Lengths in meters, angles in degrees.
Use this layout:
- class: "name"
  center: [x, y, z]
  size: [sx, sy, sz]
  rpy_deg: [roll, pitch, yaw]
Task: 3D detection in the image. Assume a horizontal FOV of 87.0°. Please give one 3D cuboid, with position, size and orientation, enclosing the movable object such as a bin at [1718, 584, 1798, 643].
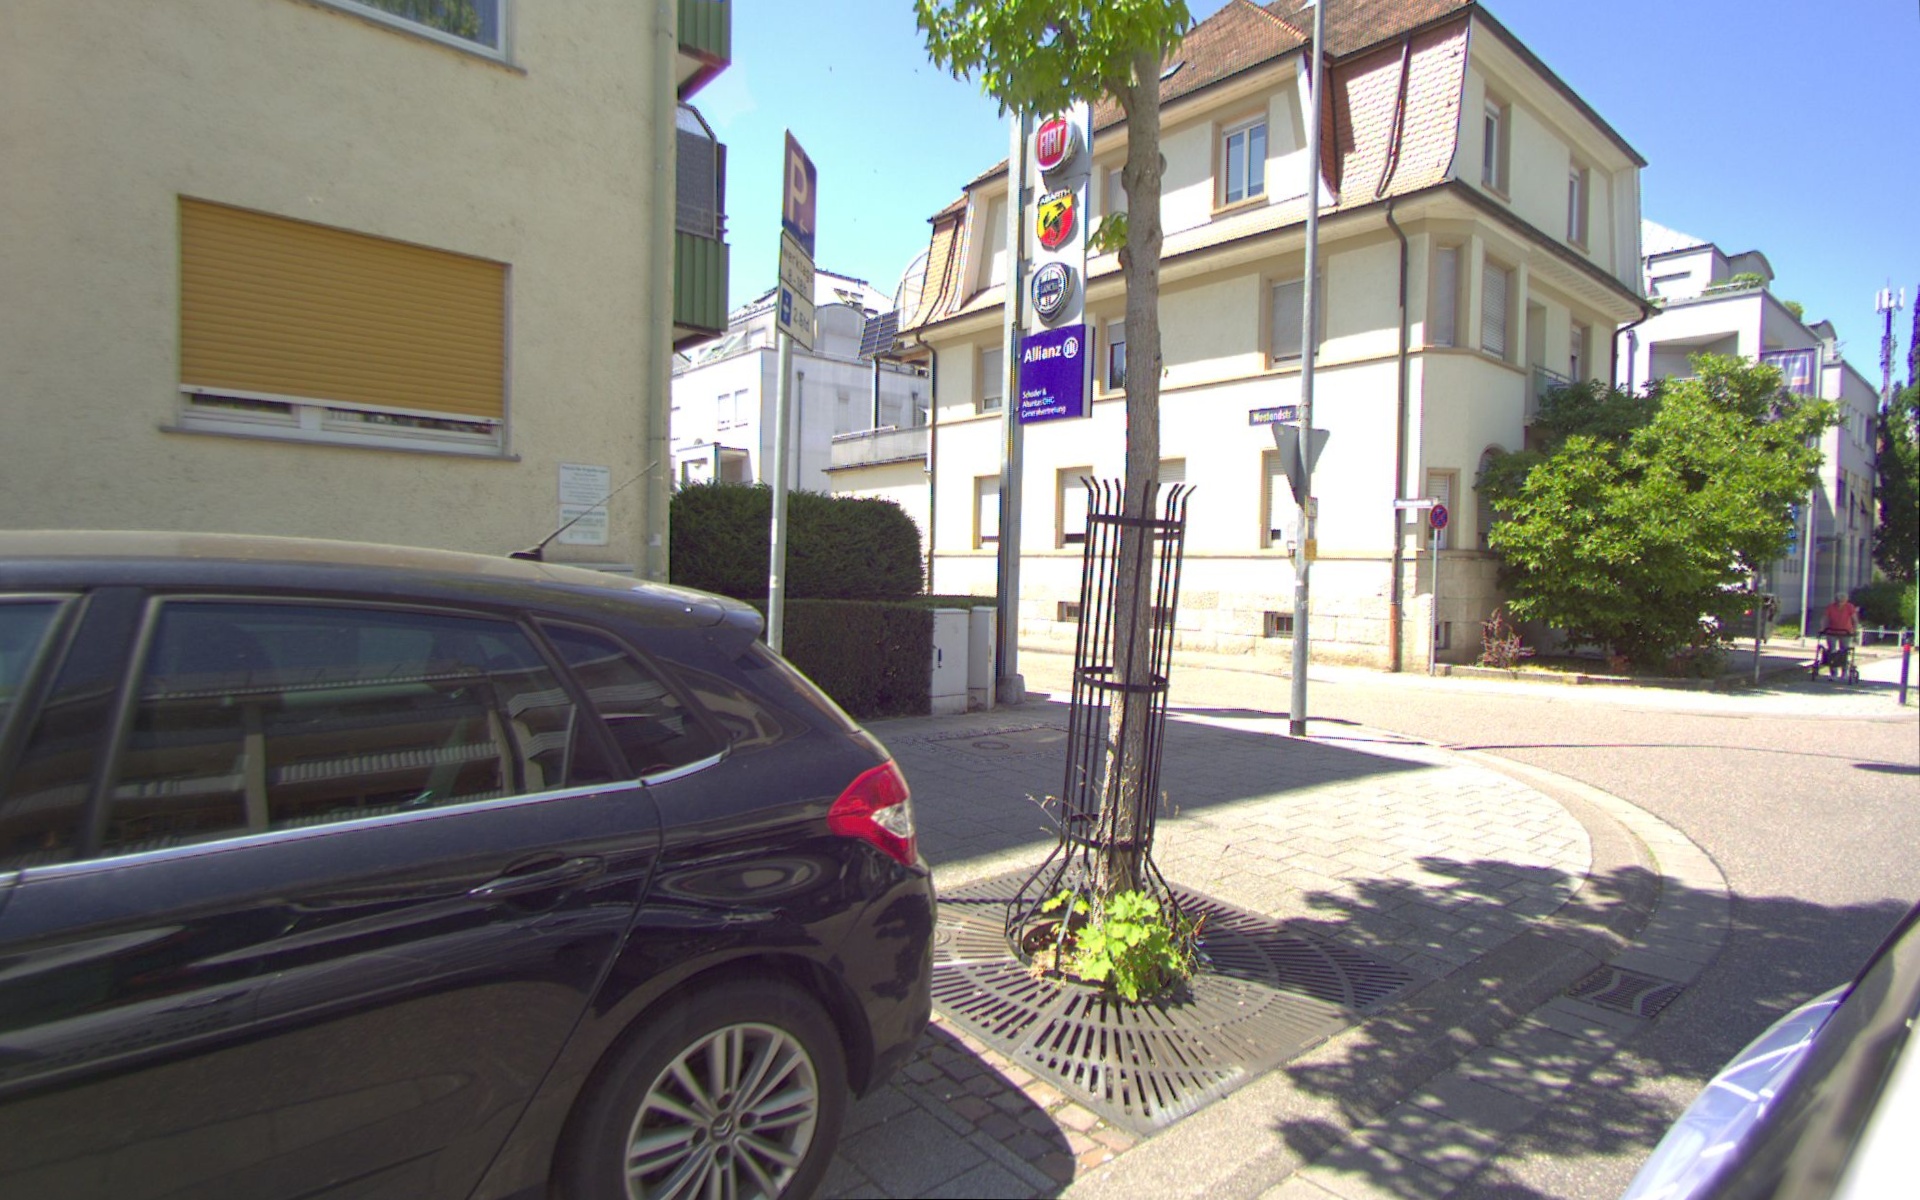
- class: "movable object such as a bin"
  center: [21.999, 0.345, 27.911]
  size: [1.355, 1.476, 1.372]
  rpy_deg: [0, 5, -39]

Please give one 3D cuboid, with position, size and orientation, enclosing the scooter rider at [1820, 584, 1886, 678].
- class: "scooter rider"
  center: [15.668, 0.523, 17.758]
  size: [0.757, 1.567, 0.717]
  rpy_deg: [1, 2, -42]

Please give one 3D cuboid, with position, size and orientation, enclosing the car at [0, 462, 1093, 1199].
- class: "car"
  center: [-1.991, 0.513, 1.978]
  size: [4.462, 1.456, 1.901]
  rpy_deg: [0, 2, -39]

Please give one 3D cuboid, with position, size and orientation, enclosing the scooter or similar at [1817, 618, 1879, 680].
- class: "scooter or similar"
  center: [15.243, 0.823, 17.379]
  size: [0.740, 0.975, 0.665]
  rpy_deg: [1, 3, -41]
